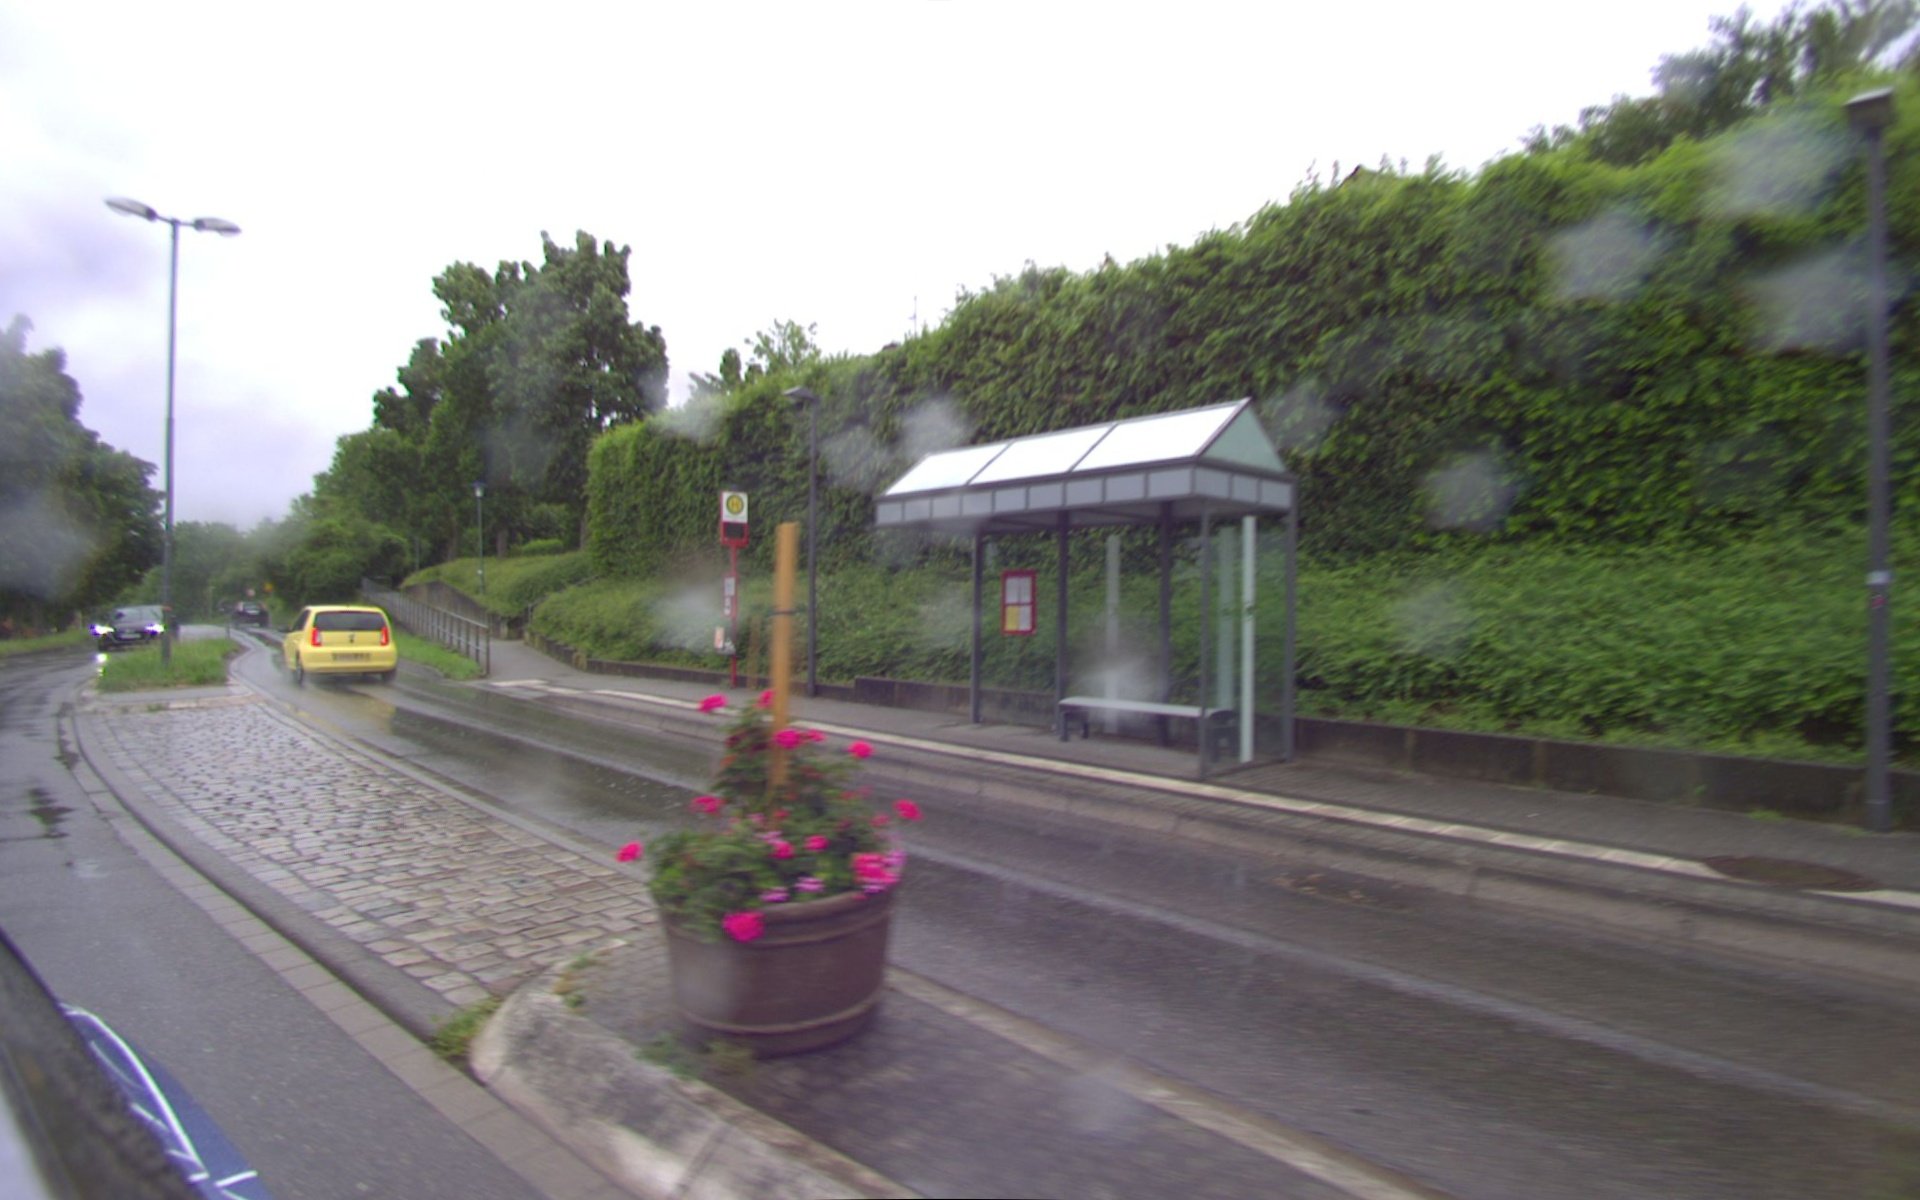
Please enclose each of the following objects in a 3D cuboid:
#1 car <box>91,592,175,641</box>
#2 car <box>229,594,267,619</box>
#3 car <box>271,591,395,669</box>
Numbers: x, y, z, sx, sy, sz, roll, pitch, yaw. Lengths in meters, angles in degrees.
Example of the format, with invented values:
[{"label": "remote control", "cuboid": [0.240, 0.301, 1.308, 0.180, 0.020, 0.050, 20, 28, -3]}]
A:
[{"label": "car", "cuboid": [-27.012, 0.581, 33.157, 1.736, 1.497, 3.800, 1, -3, -33]}, {"label": "car", "cuboid": [-45.557, 0.398, 64.712, 1.738, 1.514, 4.150, 2, -1, -38]}, {"label": "car", "cuboid": [-12.534, 0.579, 20.150, 1.553, 1.421, 3.479, 3, -2, -41]}]
